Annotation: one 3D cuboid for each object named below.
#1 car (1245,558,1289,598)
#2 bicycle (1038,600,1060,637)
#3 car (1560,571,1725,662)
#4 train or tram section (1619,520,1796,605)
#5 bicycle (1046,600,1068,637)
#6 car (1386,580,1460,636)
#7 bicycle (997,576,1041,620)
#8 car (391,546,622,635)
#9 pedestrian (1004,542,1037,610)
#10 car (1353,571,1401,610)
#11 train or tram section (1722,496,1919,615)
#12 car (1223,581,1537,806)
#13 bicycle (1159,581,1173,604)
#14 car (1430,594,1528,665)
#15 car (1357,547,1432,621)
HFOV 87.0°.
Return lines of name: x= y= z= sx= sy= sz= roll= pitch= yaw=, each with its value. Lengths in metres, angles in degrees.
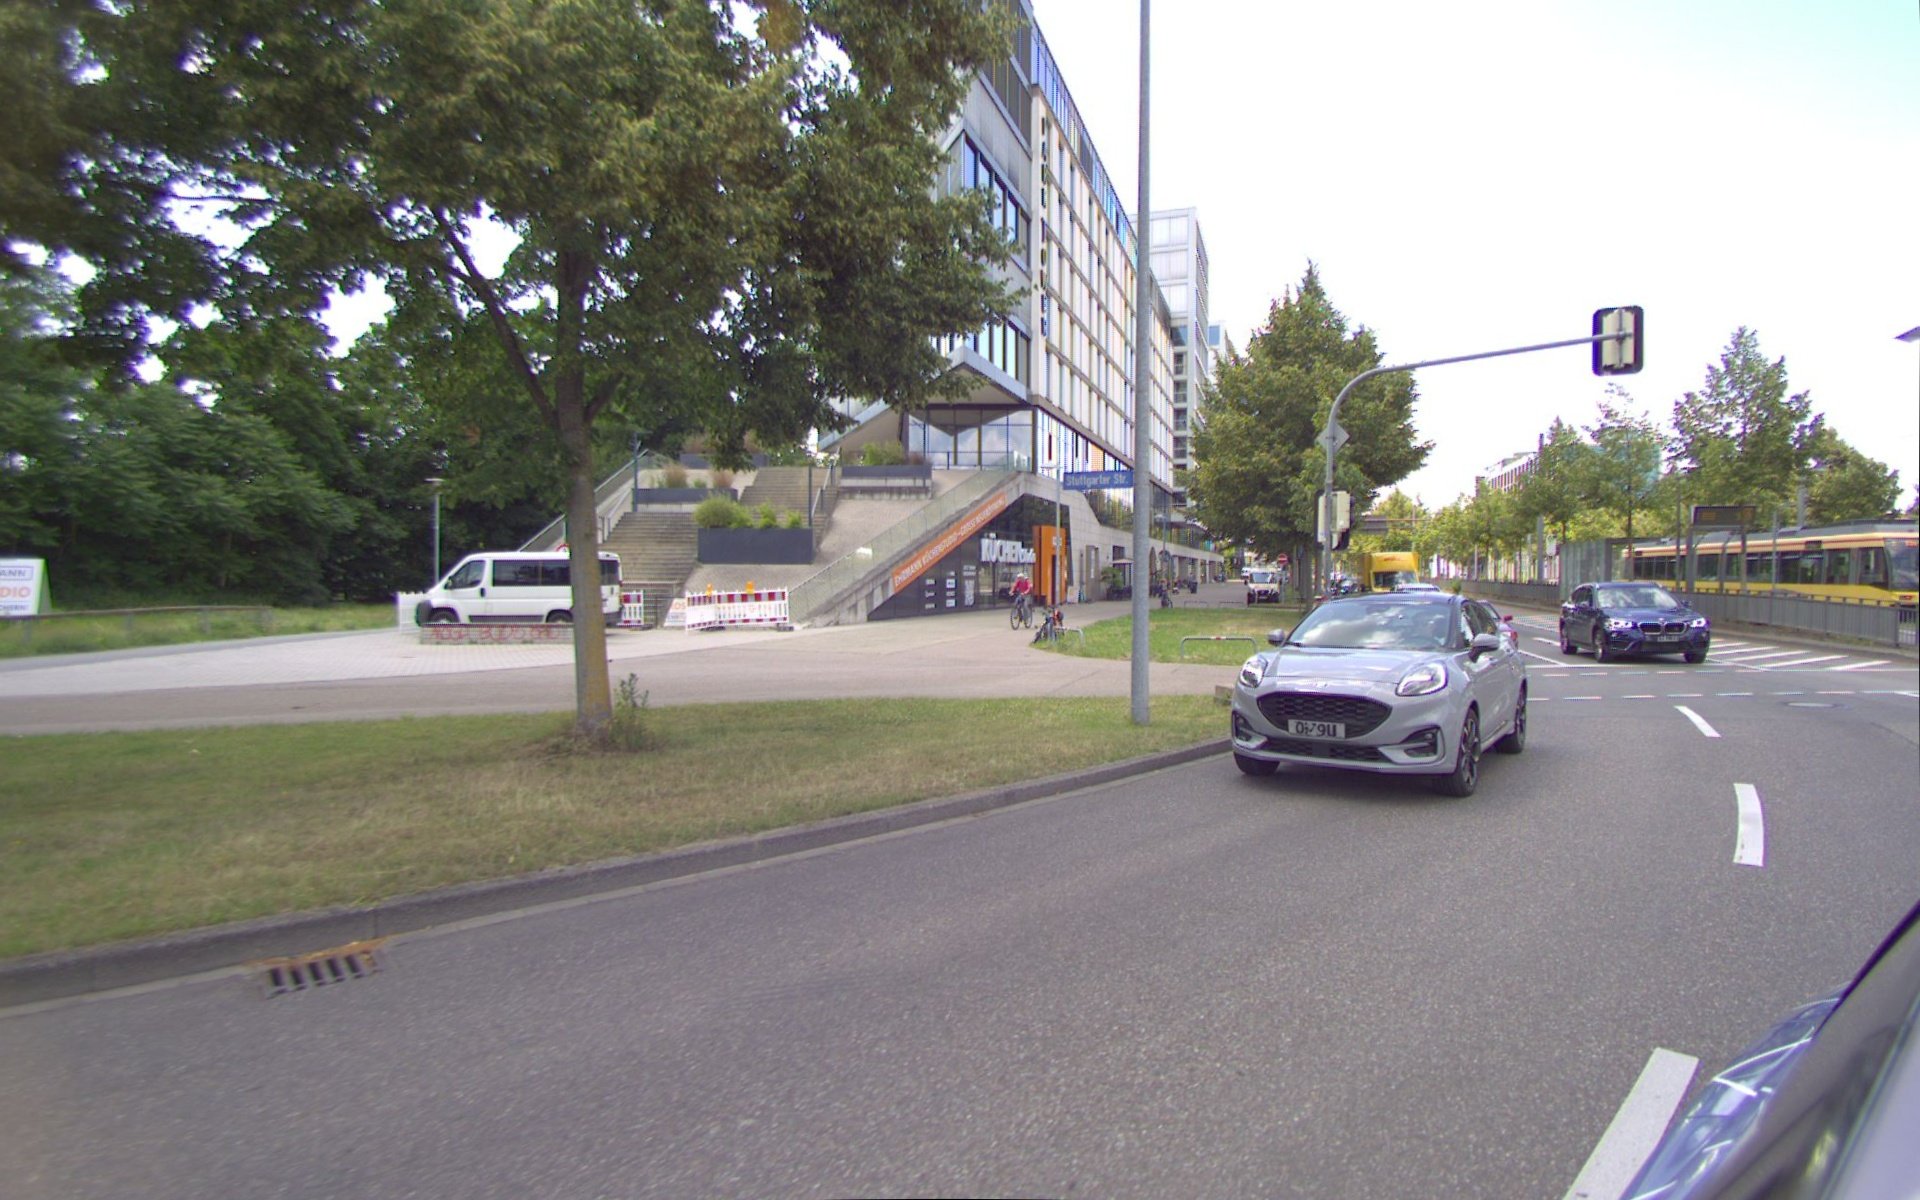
car: x=20.404 y=-1.490 z=67.128 sx=2.138 sy=2.423 sz=6.232 roll=-2 pitch=1 yaw=23
bicycle: x=2.182 y=0.437 z=24.788 sx=0.353 sy=0.836 sz=1.468 roll=0 pitch=1 yaw=13
car: x=14.055 y=0.272 z=21.109 sx=1.752 sy=1.618 sz=4.104 roll=-2 pitch=2 yaw=18
train or tram section: x=37.533 y=-1.806 z=51.680 sx=2.659 sy=3.684 sz=14.582 roll=0 pitch=1 yaw=18
bicycle: x=2.346 y=0.437 z=24.358 sx=0.353 sy=0.836 sz=1.468 roll=0 pitch=1 yaw=13
car: x=14.650 y=0.205 z=32.181 sx=1.653 sy=1.619 sz=4.104 roll=-2 pitch=1 yaw=18
bicycle: x=1.828 y=-0.101 z=31.074 sx=0.801 sy=1.259 sz=2.399 roll=1 pitch=2 yaw=17
car: x=-11.680 y=-0.252 z=26.361 sx=5.053 sy=2.174 sz=2.150 roll=-1 pitch=1 yaw=0
pedestrian: x=1.877 y=-0.748 z=31.202 sx=0.745 sy=2.039 sz=1.225 roll=1 pitch=1 yaw=17
car: x=21.129 y=-0.513 z=51.387 sx=1.975 sy=1.783 sz=4.269 roll=-2 pitch=1 yaw=20
train or tram section: x=33.259 y=-1.561 z=38.268 sx=2.813 sy=3.786 sz=13.401 roll=0 pitch=1 yaw=18
car: x=3.856 y=0.582 z=8.865 sx=1.665 sy=1.489 sz=4.039 roll=0 pitch=1 yaw=36
bicycle: x=9.815 y=-0.366 z=48.189 sx=0.509 sy=1.102 sz=1.741 roll=1 pitch=1 yaw=15
car: x=10.933 y=0.545 z=21.518 sx=1.657 sy=1.277 sz=4.058 roll=0 pitch=1 yaw=25
car: x=18.449 y=-0.718 z=43.326 sx=2.255 sy=2.889 sz=7.215 roll=0 pitch=1 yaw=18
